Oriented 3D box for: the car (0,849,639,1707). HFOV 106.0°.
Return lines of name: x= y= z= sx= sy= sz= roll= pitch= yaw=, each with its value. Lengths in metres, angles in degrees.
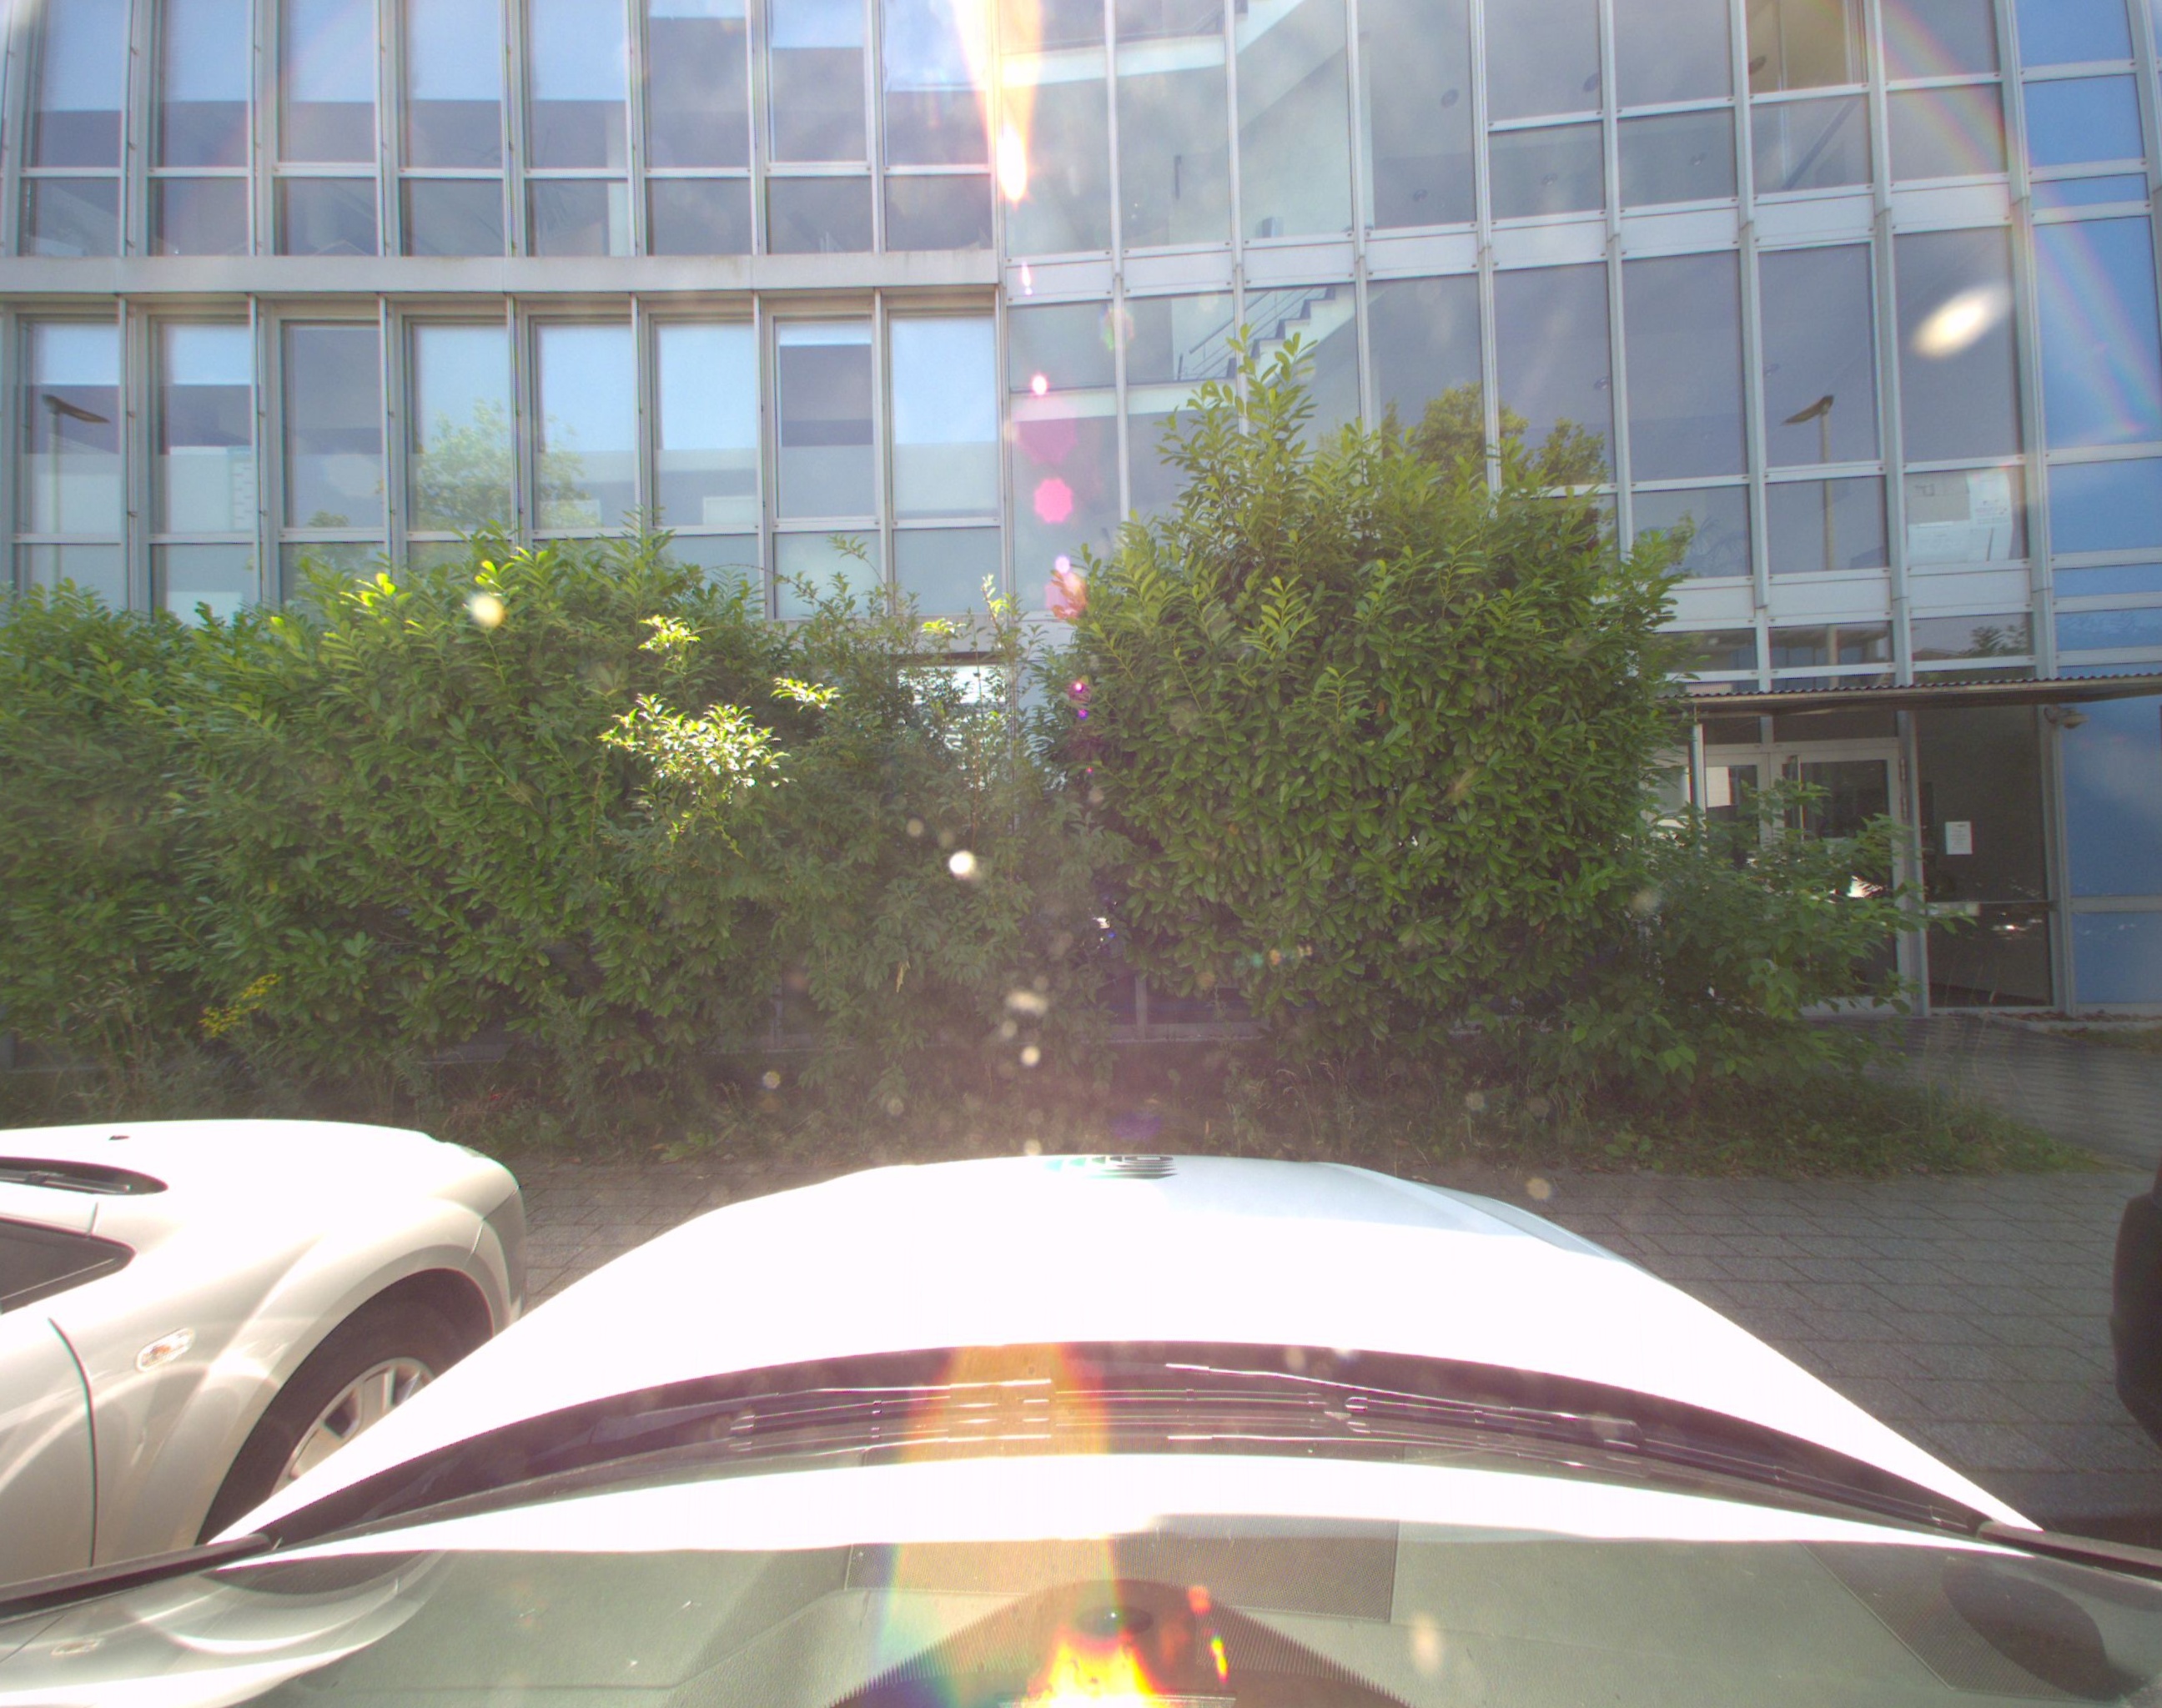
car: x=-2.182 y=0.741 z=0.177 sx=1.713 sy=1.479 sz=4.349 roll=-1 pitch=0 yaw=1
